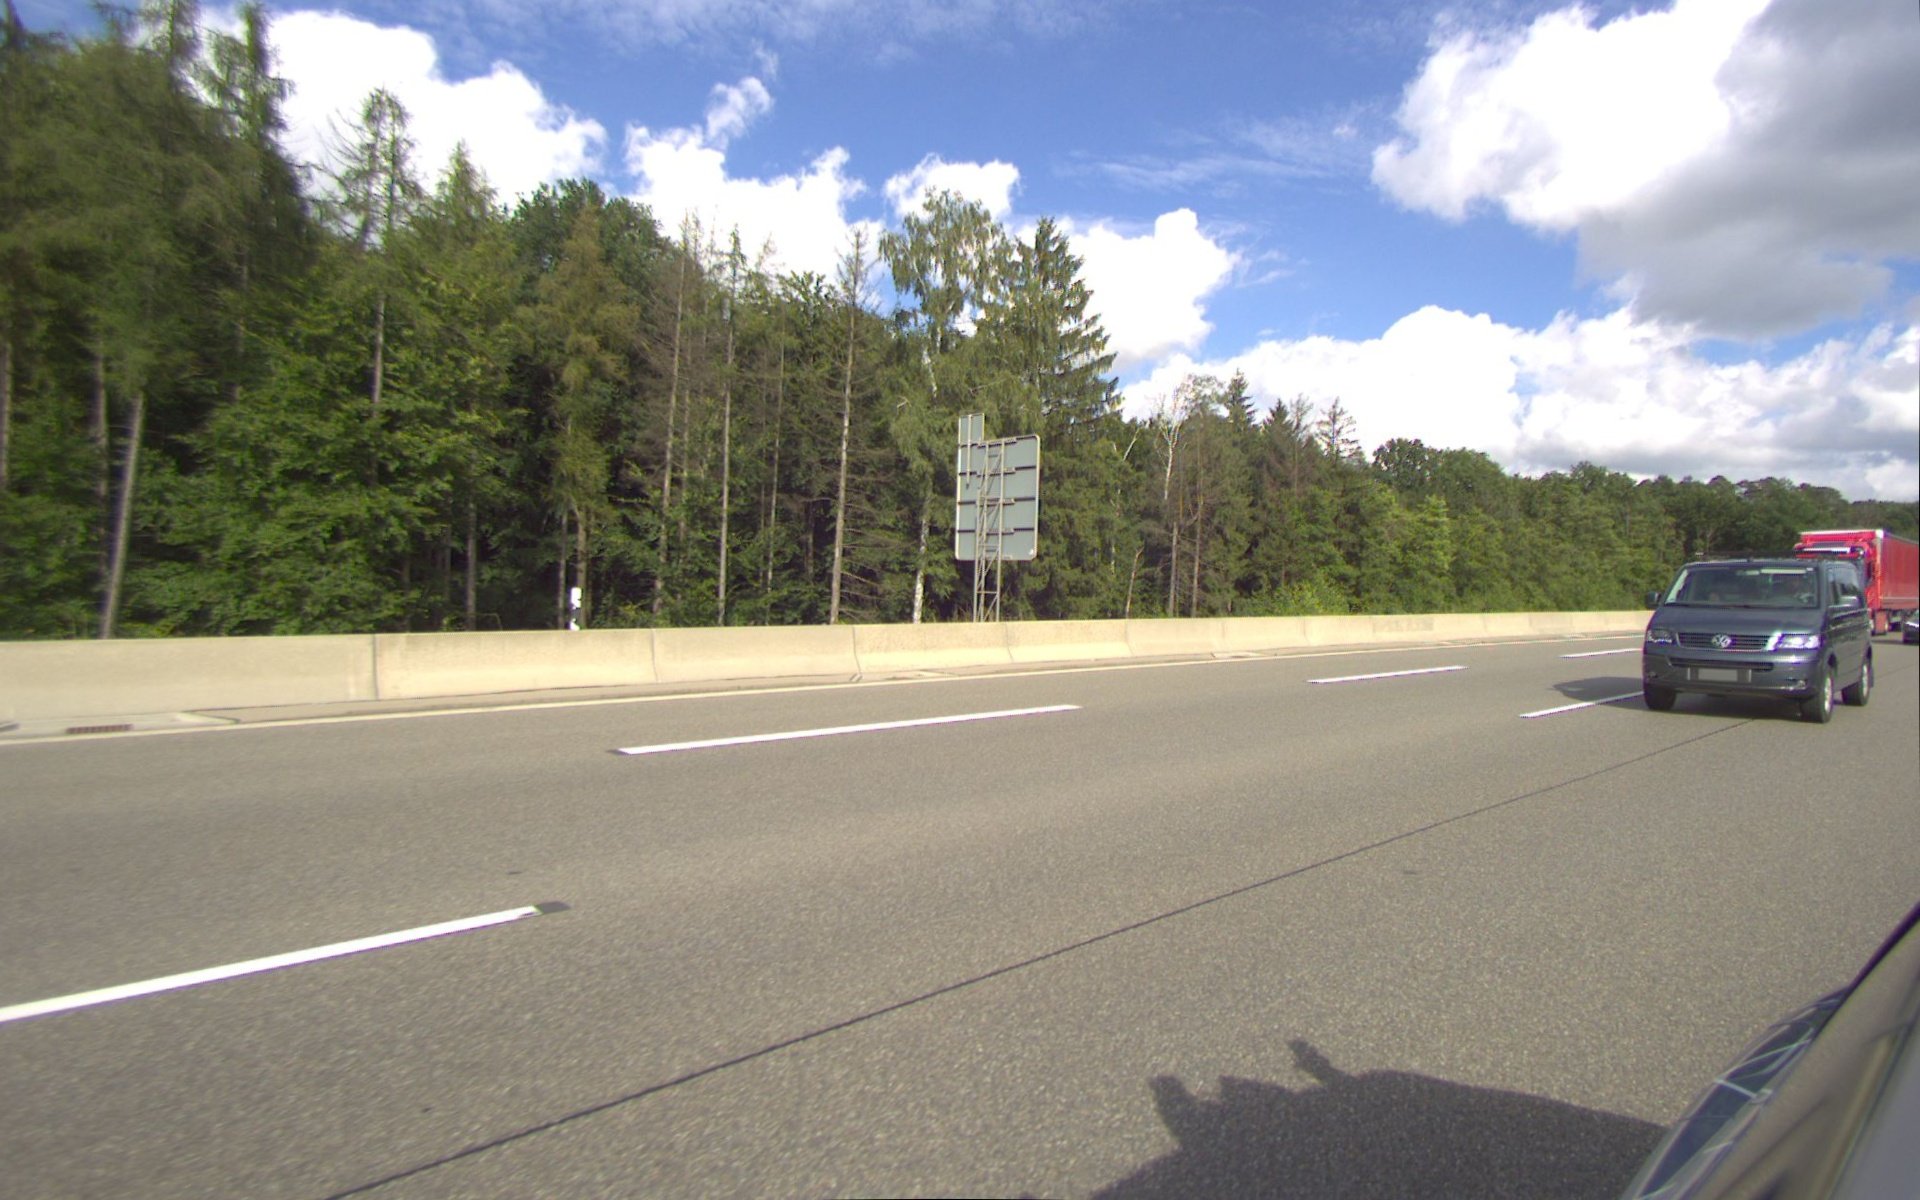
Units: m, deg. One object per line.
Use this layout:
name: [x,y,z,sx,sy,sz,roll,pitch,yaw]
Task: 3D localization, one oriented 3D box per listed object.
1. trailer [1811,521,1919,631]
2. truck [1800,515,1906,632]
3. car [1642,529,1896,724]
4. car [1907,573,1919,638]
trailer: [39.961,-1.018,43.922,14.128,4.171,2.529,-1,1,-41]
truck: [34.731,-1.014,39.324,4.573,4.255,2.530,-1,1,-41]
car: [11.076,0.273,13.712,4.876,2.192,1.925,0,1,-42]
car: [32.298,0.169,32.723,3.929,2.039,1.998,0,1,-40]
